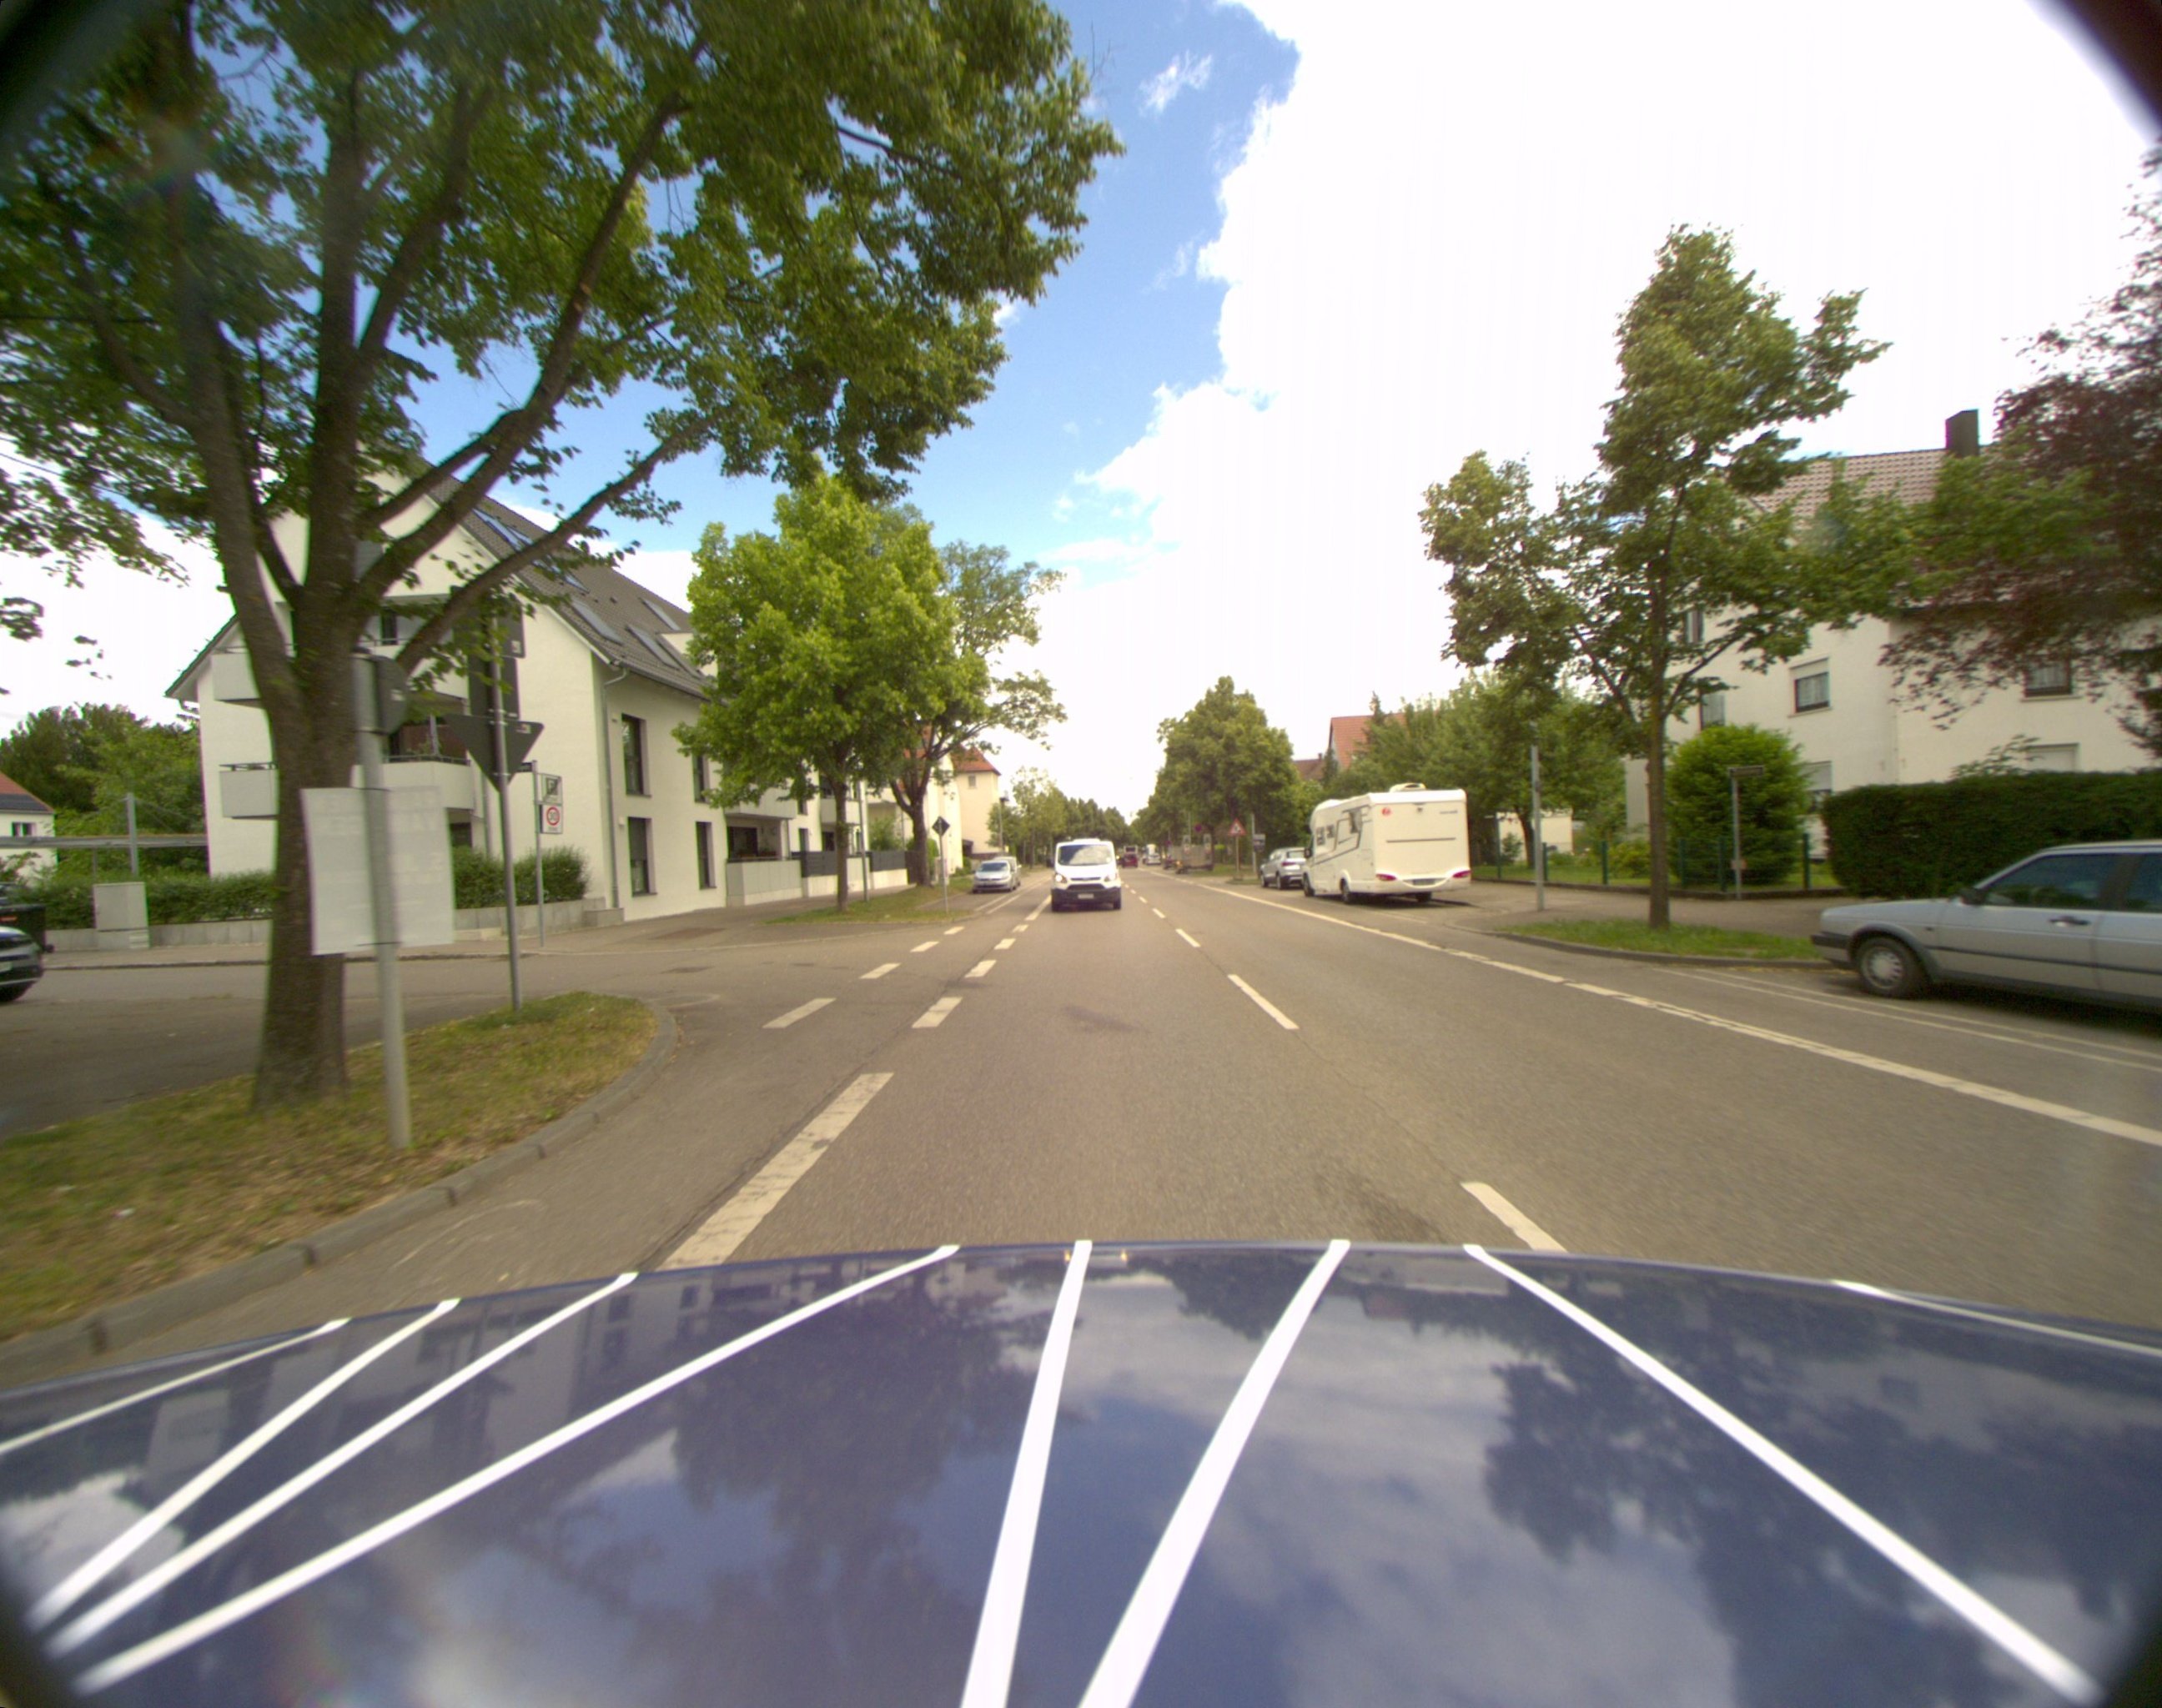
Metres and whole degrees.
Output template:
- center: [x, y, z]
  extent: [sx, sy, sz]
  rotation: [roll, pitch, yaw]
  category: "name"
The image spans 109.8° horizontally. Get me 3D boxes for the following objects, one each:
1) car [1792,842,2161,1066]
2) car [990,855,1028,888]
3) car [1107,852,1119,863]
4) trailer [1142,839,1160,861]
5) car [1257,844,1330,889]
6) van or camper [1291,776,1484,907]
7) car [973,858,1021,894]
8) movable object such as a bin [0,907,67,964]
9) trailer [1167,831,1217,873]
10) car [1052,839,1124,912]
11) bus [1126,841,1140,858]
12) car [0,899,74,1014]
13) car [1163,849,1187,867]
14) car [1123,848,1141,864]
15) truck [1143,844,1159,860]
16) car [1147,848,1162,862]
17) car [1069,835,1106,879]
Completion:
- center: [8.062, 0.670, 5.521]
  extent: [1.559, 1.461, 4.451]
  rotation: [-2, 0, -1]
  category: "car"
- center: [-3.938, 0.918, 41.871]
  extent: [1.636, 1.656, 3.648]
  rotation: [-2, 0, 1]
  category: "car"
- center: [6.244, 0.600, 146.602]
  extent: [1.997, 2.002, 4.002]
  rotation: [-2, 0, 6]
  category: "car"
- center: [9.892, -0.565, 106.949]
  extent: [2.377, 2.946, 7.013]
  rotation: [-2, 0, 6]
  category: "trailer"
- center: [8.318, 0.459, 30.076]
  extent: [1.727, 1.591, 4.272]
  rotation: [-2, 0, 1]
  category: "car"
- center: [8.224, -0.307, 21.622]
  extent: [2.441, 2.992, 7.693]
  rotation: [-2, 0, 1]
  category: "van or camper"
- center: [-3.845, 0.972, 35.520]
  extent: [1.691, 1.484, 4.227]
  rotation: [-2, 0, 1]
  category: "car"
- center: [-21.940, 1.674, 15.694]
  extent: [0.975, 1.086, 0.729]
  rotation: [-2, 1, 5]
  category: "movable object such as a bin"
- center: [8.545, -0.232, 59.187]
  extent: [2.680, 2.924, 7.474]
  rotation: [-3, 1, 0]
  category: "trailer"
- center: [0.206, 0.606, 24.564]
  extent: [1.998, 2.002, 5.318]
  rotation: [-2, 0, 0]
  category: "car"
- center: [11.070, -1.078, 161.725]
  extent: [2.811, 3.269, 18.047]
  rotation: [1, 1, 4]
  category: "bus"
- center: [-15.959, 1.416, 9.557]
  extent: [3.998, 1.451, 1.793]
  rotation: [-2, 0, -3]
  category: "car"
- center: [9.087, 0.355, 73.715]
  extent: [1.865, 1.544, 4.618]
  rotation: [-3, 2, 1]
  category: "car"
- center: [5.975, 0.179, 89.140]
  extent: [1.764, 1.792, 4.768]
  rotation: [-2, 0, 1]
  category: "car"
- center: [10.530, -0.262, 113.654]
  extent: [2.300, 2.274, 6.465]
  rotation: [-2, 0, 6]
  category: "truck"
- center: [9.719, 0.143, 100.215]
  extent: [1.693, 1.674, 4.225]
  rotation: [-3, 1, 2]
  category: "car"
- center: [0.464, 0.172, 47.530]
  extent: [1.998, 2.584, 4.001]
  rotation: [-3, 0, 3]
  category: "car"
